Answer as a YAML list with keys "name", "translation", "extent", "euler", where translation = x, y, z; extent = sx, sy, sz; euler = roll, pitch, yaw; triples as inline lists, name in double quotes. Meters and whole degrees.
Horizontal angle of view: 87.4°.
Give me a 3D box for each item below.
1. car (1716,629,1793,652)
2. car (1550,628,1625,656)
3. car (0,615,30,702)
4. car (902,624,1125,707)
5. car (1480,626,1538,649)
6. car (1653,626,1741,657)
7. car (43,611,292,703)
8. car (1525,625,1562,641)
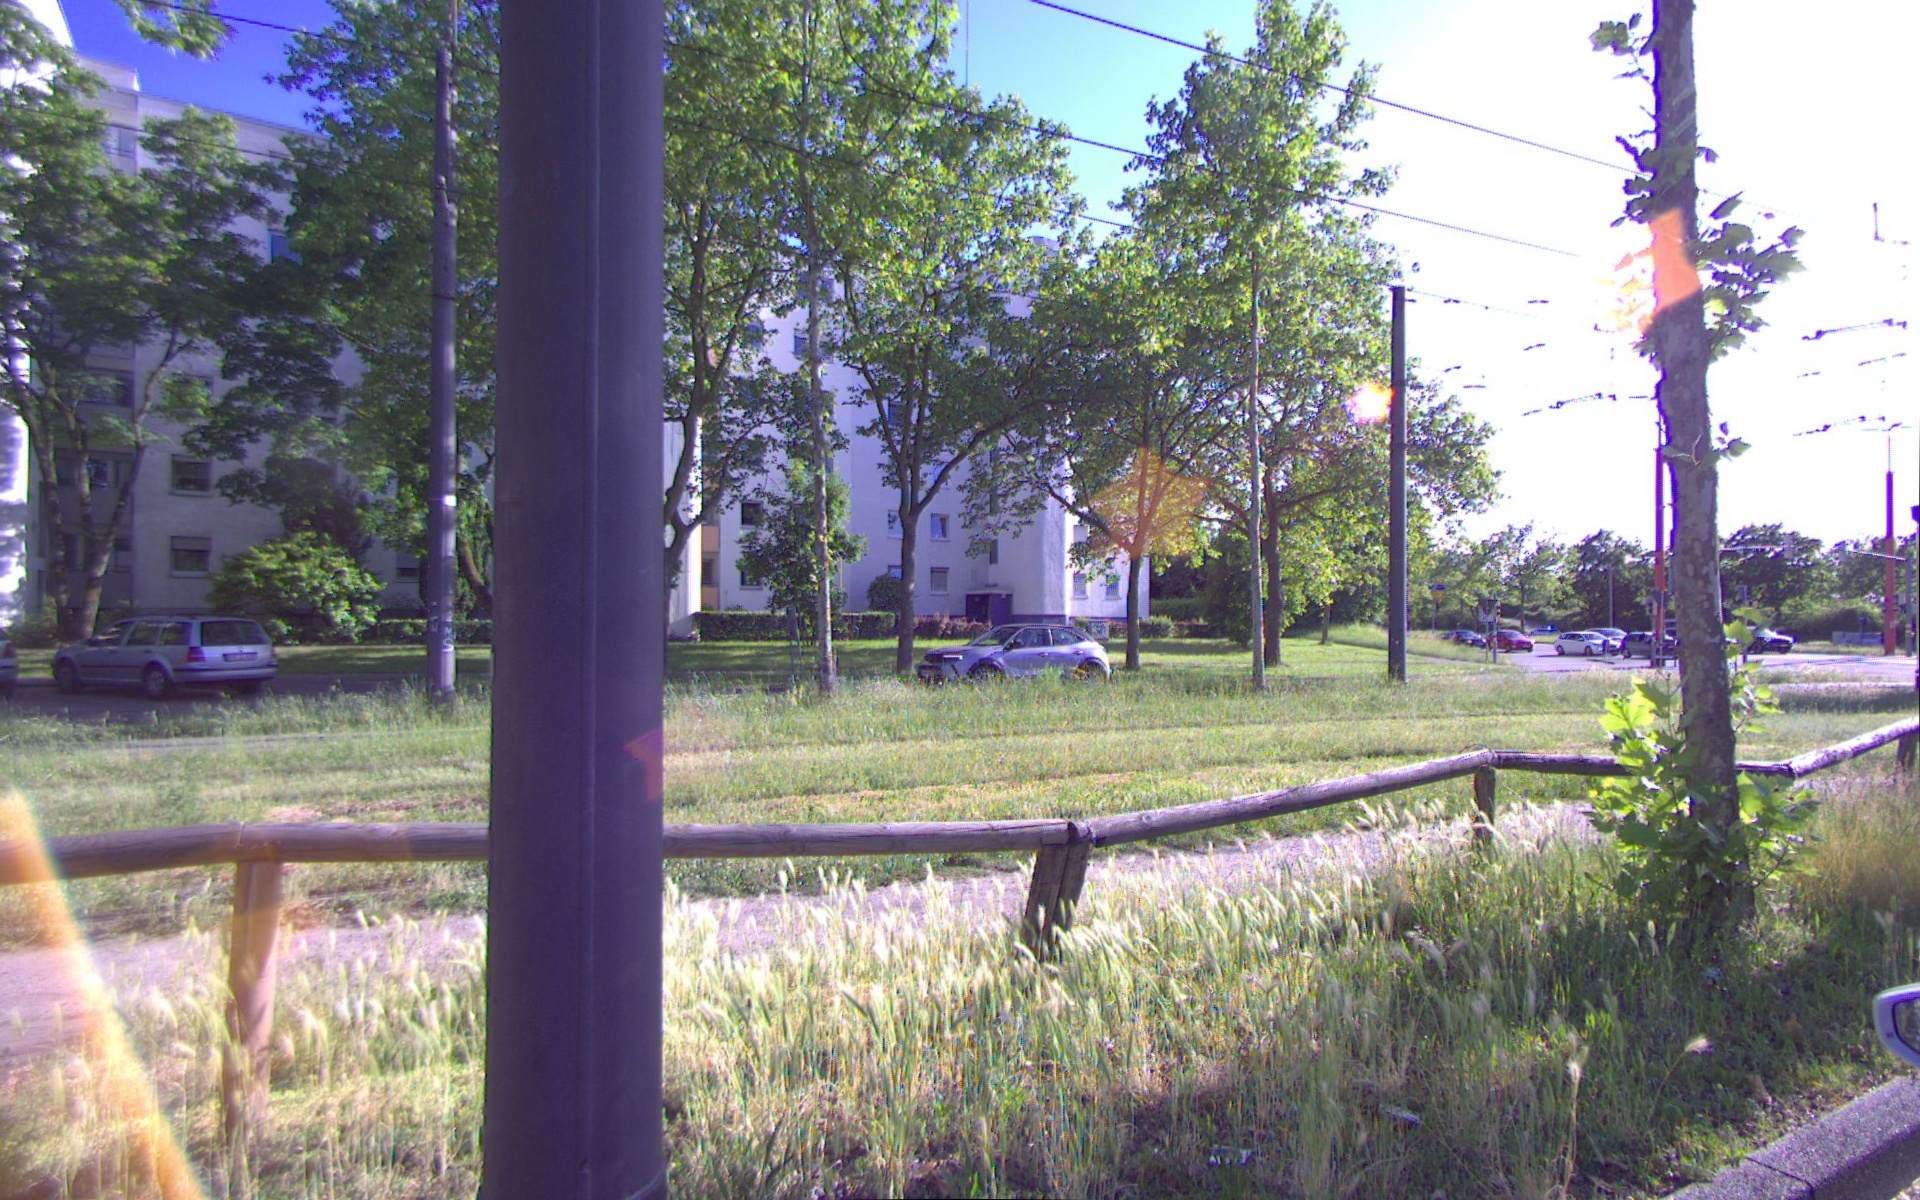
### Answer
- name: "car"
  translation: [48.781, 2.462, 61.743]
  extent: [1.664, 1.347, 4.001]
  euler: [1, -1, 2]
- name: "car"
  translation: [38.960, 2.591, 62.470]
  extent: [1.833, 1.633, 4.185]
  euler: [1, -1, -4]
- name: "car"
  translation: [-17.962, 0.969, 17.113]
  extent: [3.547, 1.439, 1.576]
  euler: [1, 0, 18]
- name: "car"
  translation: [1.126, 1.300, 20.725]
  extent: [4.275, 1.543, 1.799]
  euler: [1, -1, -28]
- name: "car"
  translation: [38.456, 2.625, 70.421]
  extent: [1.699, 1.533, 3.998]
  euler: [1, -1, -4]
- name: "car"
  translation: [42.327, 2.335, 57.777]
  extent: [1.962, 1.666, 3.997]
  euler: [1, -1, -5]
- name: "car"
  translation: [-14.569, 0.989, 18.493]
  extent: [3.898, 1.462, 1.710]
  euler: [1, 0, 18]
- name: "car"
  translation: [61.998, 3.474, 106.758]
  extent: [1.767, 1.678, 4.116]
  euler: [1, -1, 3]
